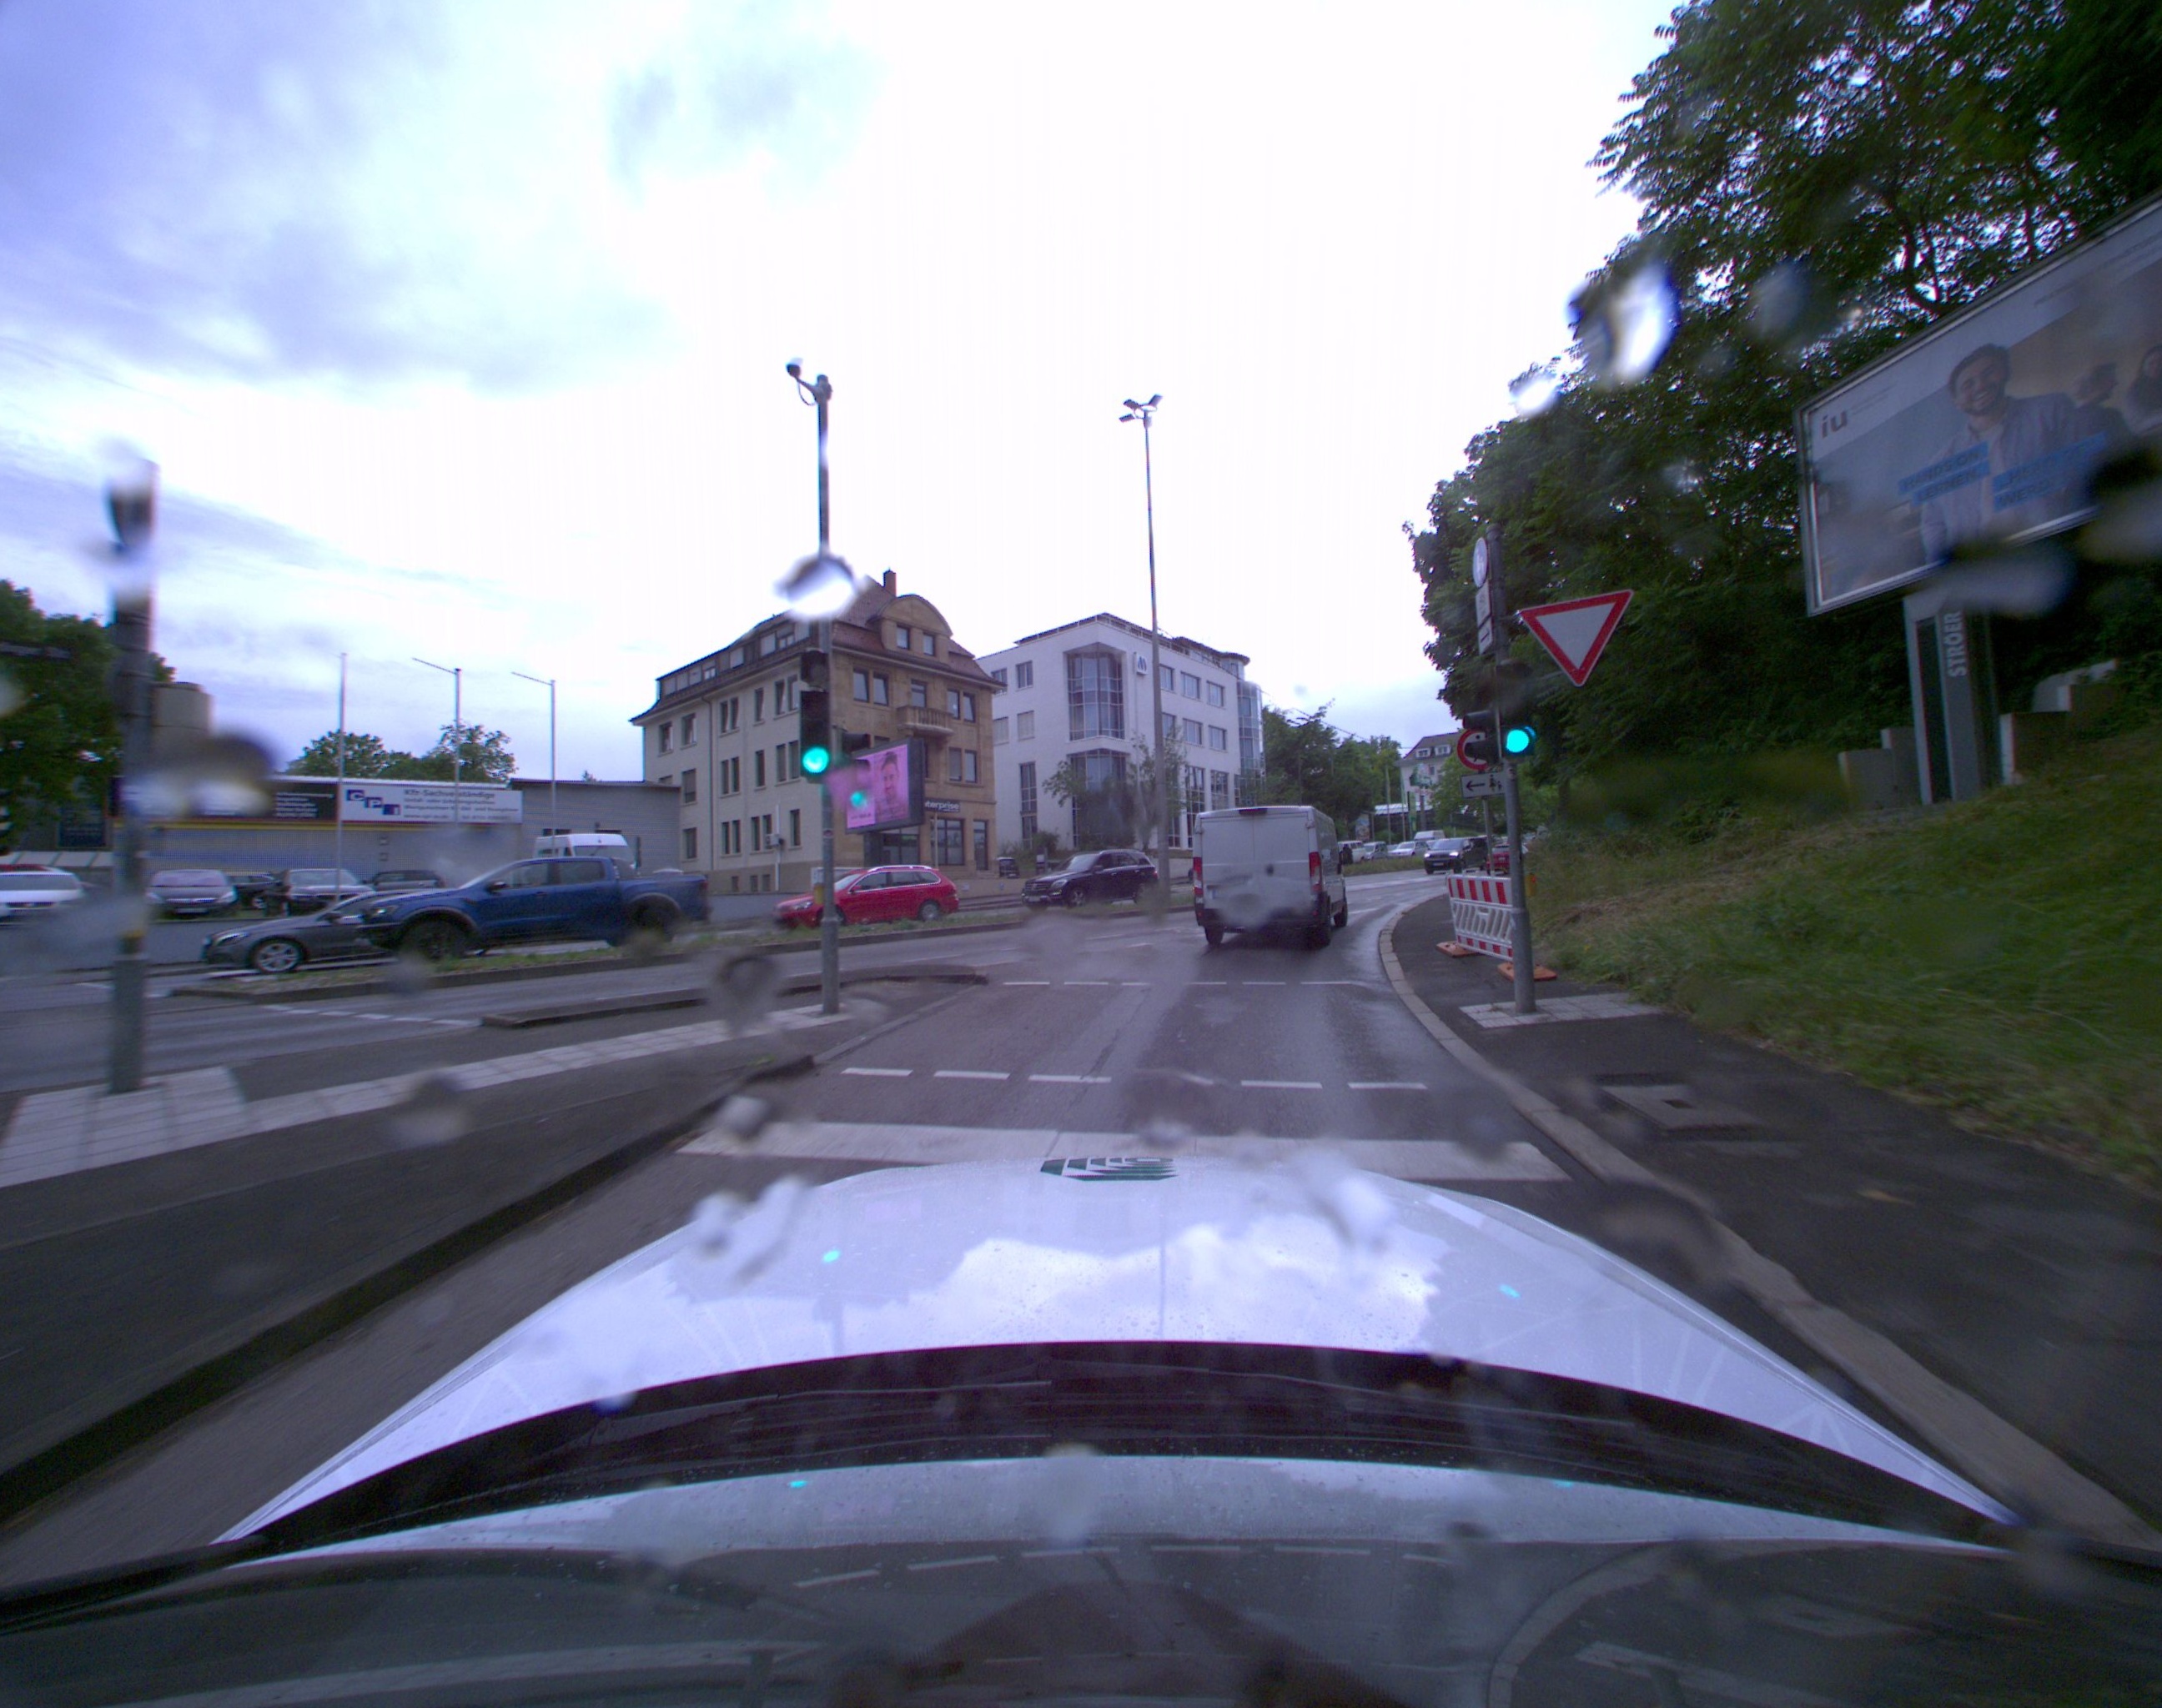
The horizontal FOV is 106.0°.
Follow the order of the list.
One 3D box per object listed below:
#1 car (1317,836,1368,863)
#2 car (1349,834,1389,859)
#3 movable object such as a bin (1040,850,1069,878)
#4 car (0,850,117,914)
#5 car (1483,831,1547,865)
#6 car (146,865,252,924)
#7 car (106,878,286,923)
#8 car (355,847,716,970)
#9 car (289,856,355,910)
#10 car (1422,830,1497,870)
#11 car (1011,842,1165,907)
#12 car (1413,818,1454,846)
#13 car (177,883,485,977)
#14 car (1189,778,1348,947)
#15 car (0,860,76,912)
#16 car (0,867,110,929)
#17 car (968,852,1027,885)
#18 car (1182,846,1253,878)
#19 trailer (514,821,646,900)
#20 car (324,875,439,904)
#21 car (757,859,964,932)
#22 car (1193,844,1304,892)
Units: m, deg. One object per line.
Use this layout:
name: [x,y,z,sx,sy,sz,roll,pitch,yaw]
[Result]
car: [19.390,-0.342,60.206,1.753,1.746,4.612,-5,-1,42]
car: [22.500,-0.621,63.546,1.576,1.695,3.805,-5,-1,42]
movable object such as a bin: [-1.514,0.566,46.991,1.232,1.541,1.047,-3,-2,38]
car: [-42.515,1.125,33.103,4.006,2.498,1.634,0,-4,-39]
car: [19.846,-0.251,37.167,1.677,1.426,3.387,-3,-3,44]
car: [-22.666,0.991,21.041,3.578,1.369,1.752,-1,-1,44]
car: [-32.993,1.717,30.536,4.359,1.406,1.358,-2,-2,-35]
car: [-9.791,0.879,14.990,1.915,1.818,5.201,-5,-3,45]
car: [-21.380,0.772,22.907,2.653,1.424,1.235,-1,-1,44]
car: [20.354,-0.242,43.711,1.996,1.867,5.072,-5,-2,44]
car: [0.309,0.587,24.890,1.936,1.697,4.653,-5,-2,45]
car: [33.577,-2.148,77.506,1.944,2.443,5.692,-5,-1,39]
car: [-13.840,1.335,15.272,1.527,1.459,4.094,-5,-4,44]
car: [3.581,0.101,14.748,2.032,2.516,4.970,0,0,22]
car: [-40.910,1.223,30.170,4.332,1.861,1.720,0,-4,-39]
car: [-25.435,1.021,19.928,3.578,1.369,1.884,-1,-1,44]
car: [-4.773,0.849,46.476,3.013,1.676,1.726,-4,-4,40]
car: [7.804,0.424,46.286,1.672,1.534,4.701,-5,-1,41]
trailer: [-18.667,0.355,30.151,7.029,2.429,2.409,-5,-4,43]
car: [-28.843,1.460,33.704,3.425,1.108,1.310,0,-3,-32]
car: [-5.126,0.953,19.391,1.789,1.531,4.468,-5,-4,44]
car: [6.277,0.528,30.170,1.672,1.605,4.756,-5,-4,44]
